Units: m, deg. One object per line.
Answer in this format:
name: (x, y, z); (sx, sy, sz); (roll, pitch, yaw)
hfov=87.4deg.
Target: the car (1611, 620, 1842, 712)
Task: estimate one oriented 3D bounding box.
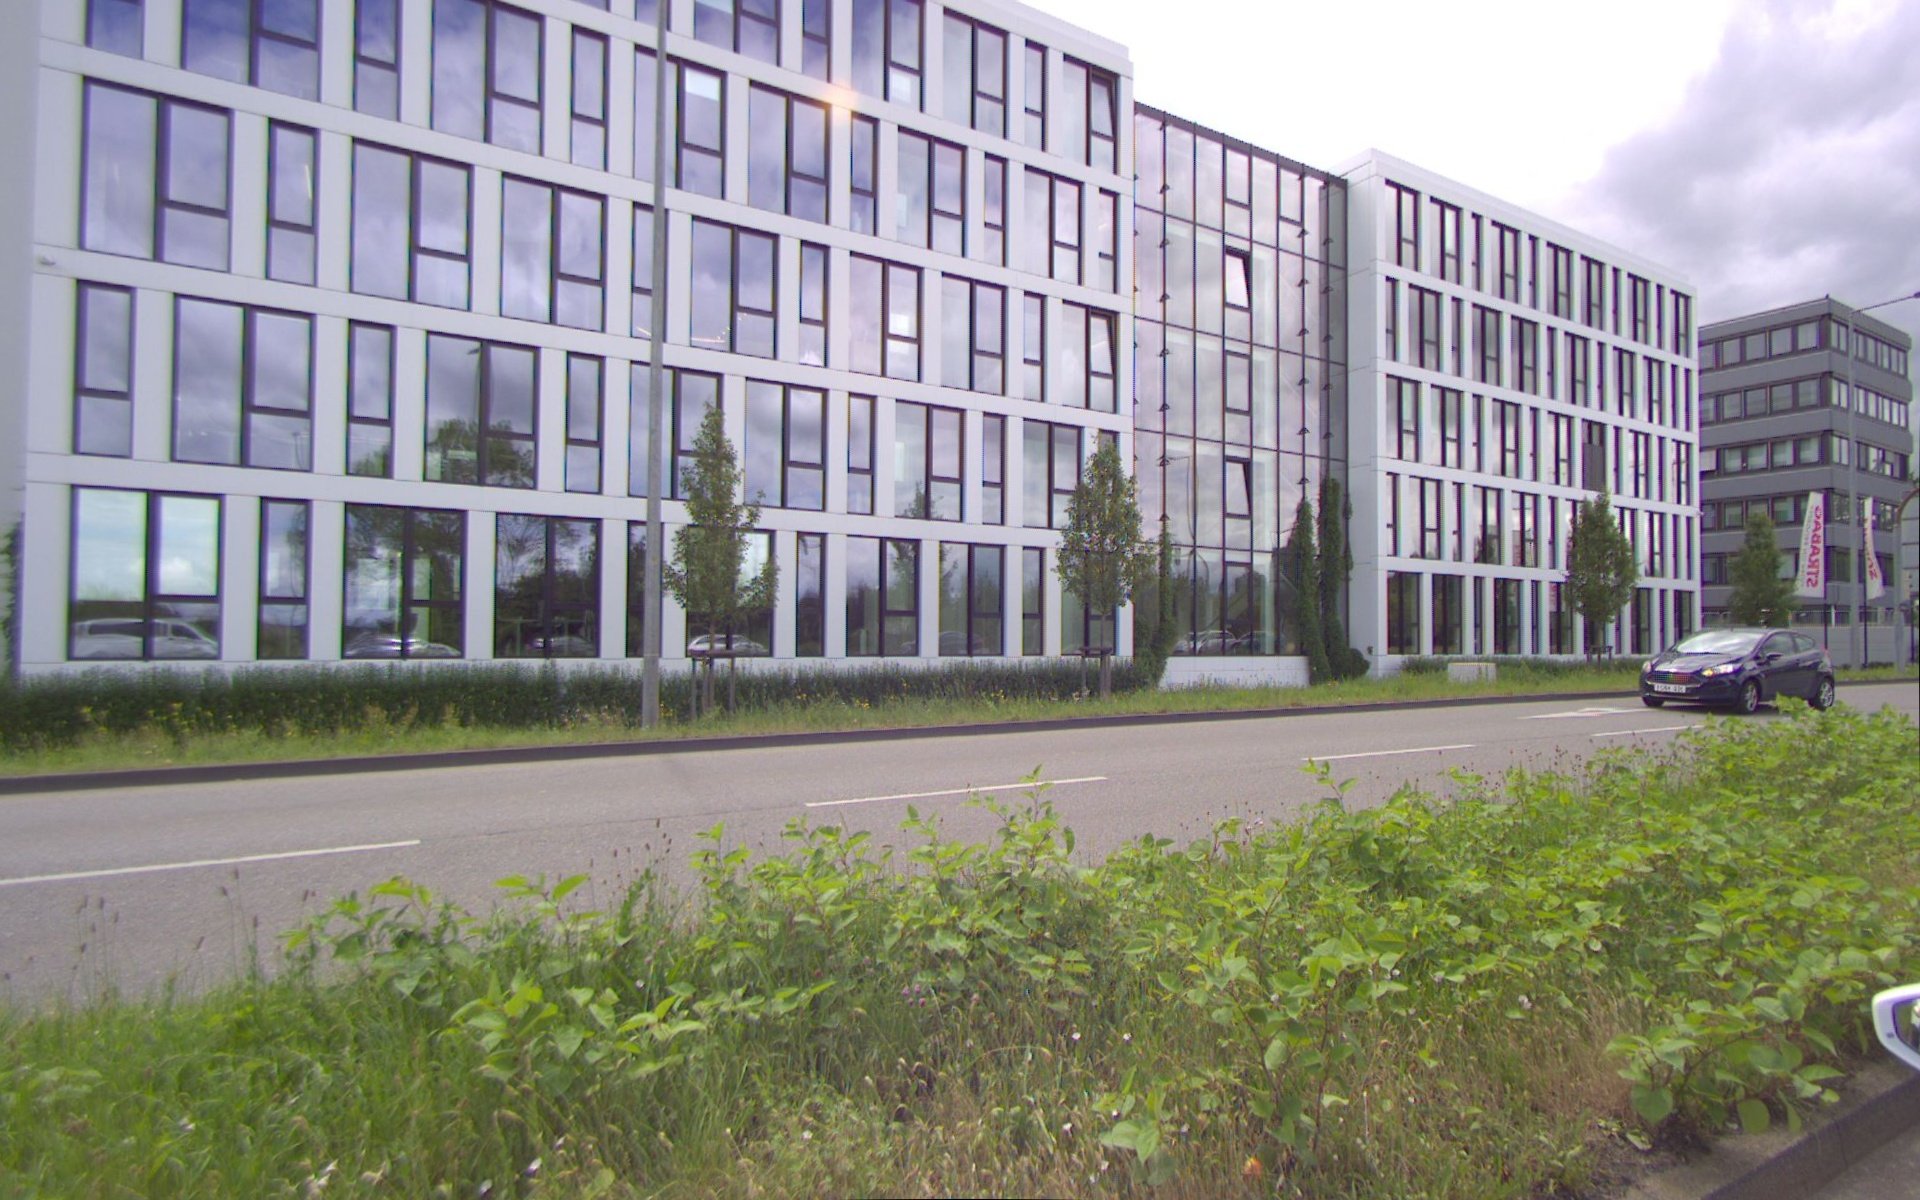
car: (13.841, 1.156, 18.136); (3.839, 1.465, 1.749); (2, 0, -25)
